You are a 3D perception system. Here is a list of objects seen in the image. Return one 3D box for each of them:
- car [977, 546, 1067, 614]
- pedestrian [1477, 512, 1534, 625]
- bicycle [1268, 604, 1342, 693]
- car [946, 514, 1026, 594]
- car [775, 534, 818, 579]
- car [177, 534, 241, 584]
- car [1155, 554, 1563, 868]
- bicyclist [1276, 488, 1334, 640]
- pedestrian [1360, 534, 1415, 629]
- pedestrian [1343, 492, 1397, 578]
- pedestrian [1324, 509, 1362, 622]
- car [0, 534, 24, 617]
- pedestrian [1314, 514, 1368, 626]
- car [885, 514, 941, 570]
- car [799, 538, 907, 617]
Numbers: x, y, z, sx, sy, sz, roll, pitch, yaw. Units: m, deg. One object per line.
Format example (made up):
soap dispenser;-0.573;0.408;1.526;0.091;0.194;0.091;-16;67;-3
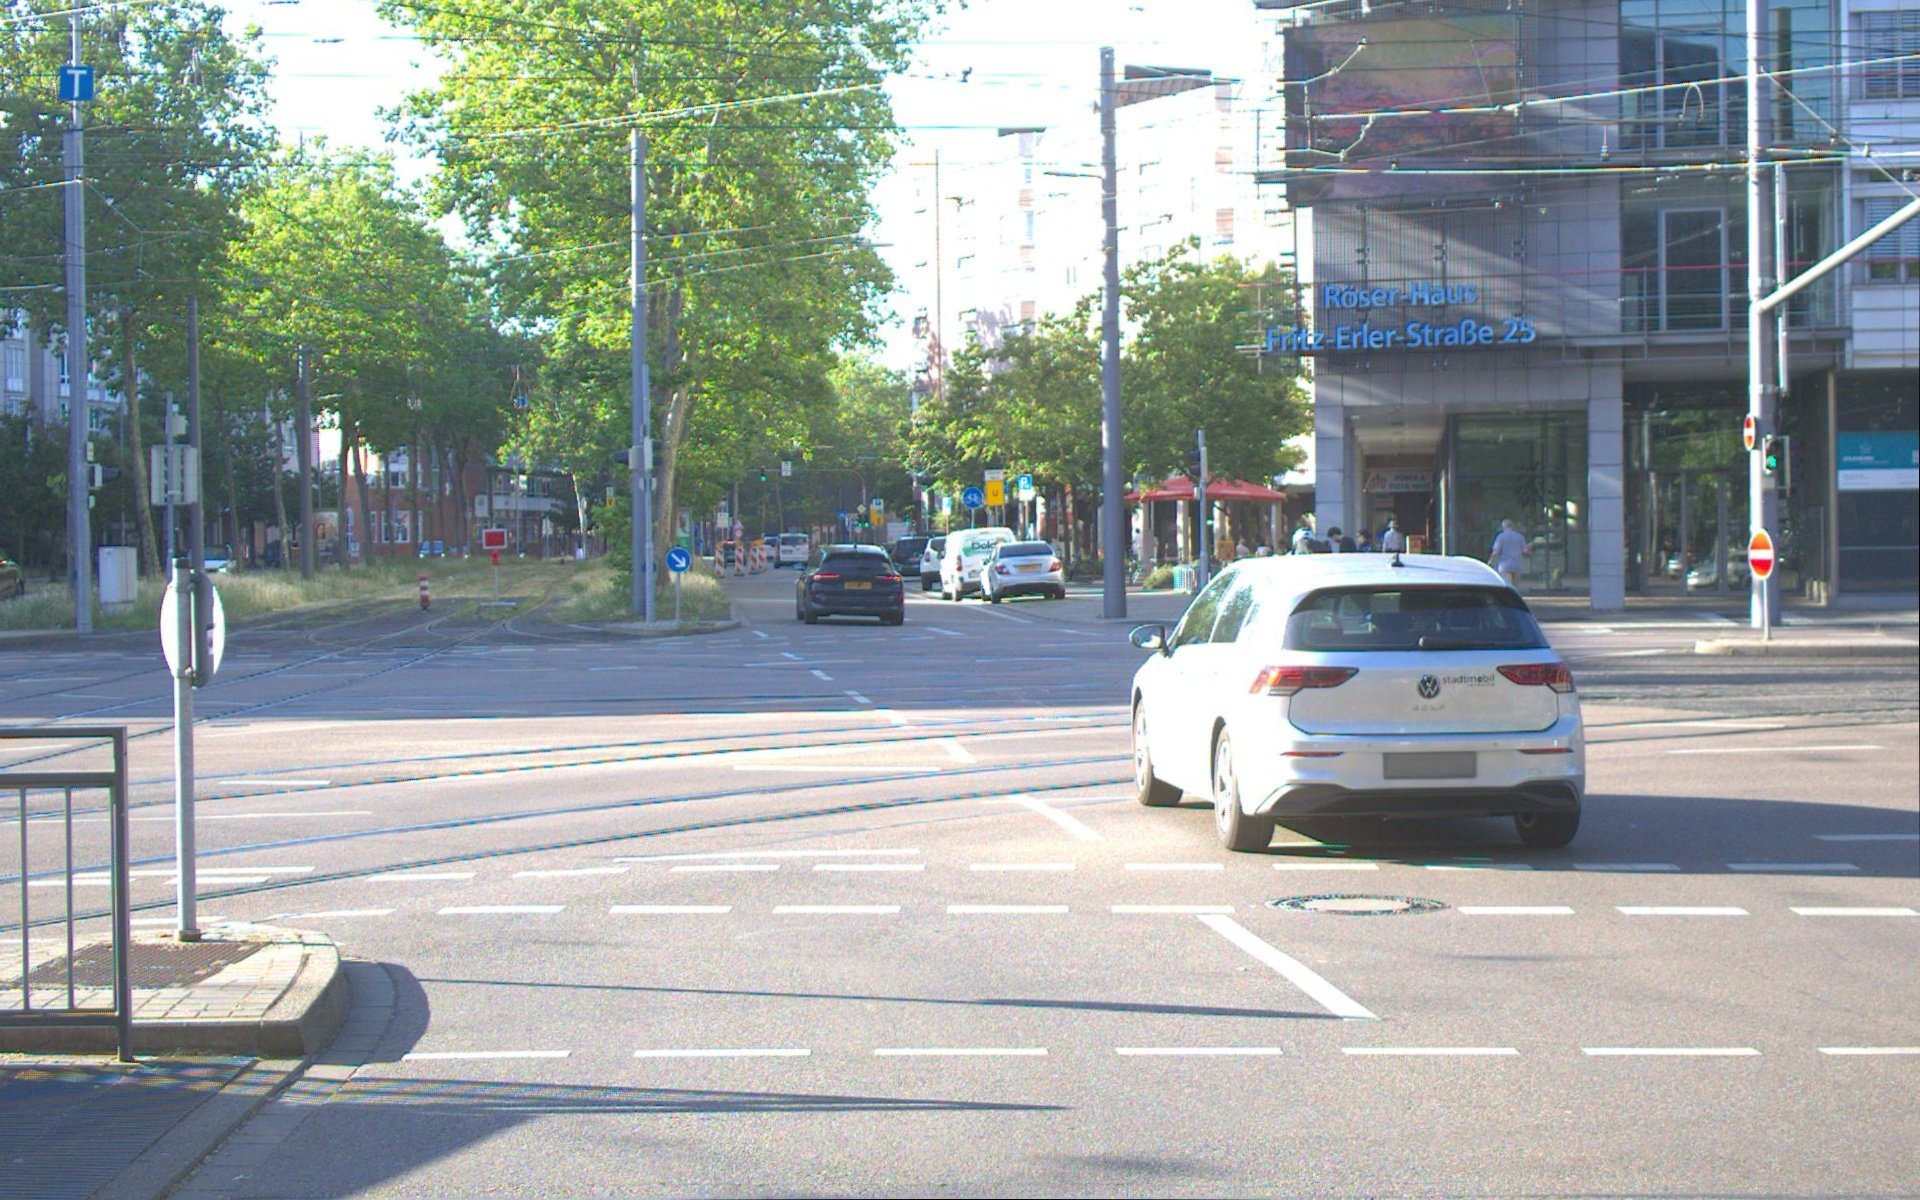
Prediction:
car;1.459;-0.490;82.857;2.029;1.590;4.000;1;1;-1
pedestrian;9.806;-0.567;61.851;0.869;2.007;0.794;1;0;-1
bicycle;3.270;0.453;32.728;0.490;0.785;1.862;0;1;-1
car;0.648;-1.200;89.604;1.993;2.007;4.000;1;1;-1
car;-8.649;-2.292;182.303;1.993;2.007;3.999;1;-5;1
car;-24.956;-1.370;114.349;1.676;1.601;4.001;1;1;-6
car;1.960;0.487;17.926;1.748;1.413;4.000;0;1;1
bicyclist;3.296;-0.350;32.896;0.486;1.434;0.615;0;1;-1
pedestrian;7.740;-0.343;62.250;0.869;1.702;0.794;1;0;-1
pedestrian;10.544;-1.659;88.495;1.313;2.182;1.170;1;0;6
pedestrian;6.898;-0.625;61.863;0.586;2.007;0.620;1;0;0
car;-21.608;-0.538;74.762;1.822;1.784;4.001;-1;1;-7
pedestrian;6.857;-0.539;61.941;0.849;2.007;0.708;1;0;-1
car;-1.724;-2.110;126.610;1.993;2.007;4.000;1;1;-1
car;-1.985;-0.434;62.563;1.763;1.399;4.297;0;1;-4
